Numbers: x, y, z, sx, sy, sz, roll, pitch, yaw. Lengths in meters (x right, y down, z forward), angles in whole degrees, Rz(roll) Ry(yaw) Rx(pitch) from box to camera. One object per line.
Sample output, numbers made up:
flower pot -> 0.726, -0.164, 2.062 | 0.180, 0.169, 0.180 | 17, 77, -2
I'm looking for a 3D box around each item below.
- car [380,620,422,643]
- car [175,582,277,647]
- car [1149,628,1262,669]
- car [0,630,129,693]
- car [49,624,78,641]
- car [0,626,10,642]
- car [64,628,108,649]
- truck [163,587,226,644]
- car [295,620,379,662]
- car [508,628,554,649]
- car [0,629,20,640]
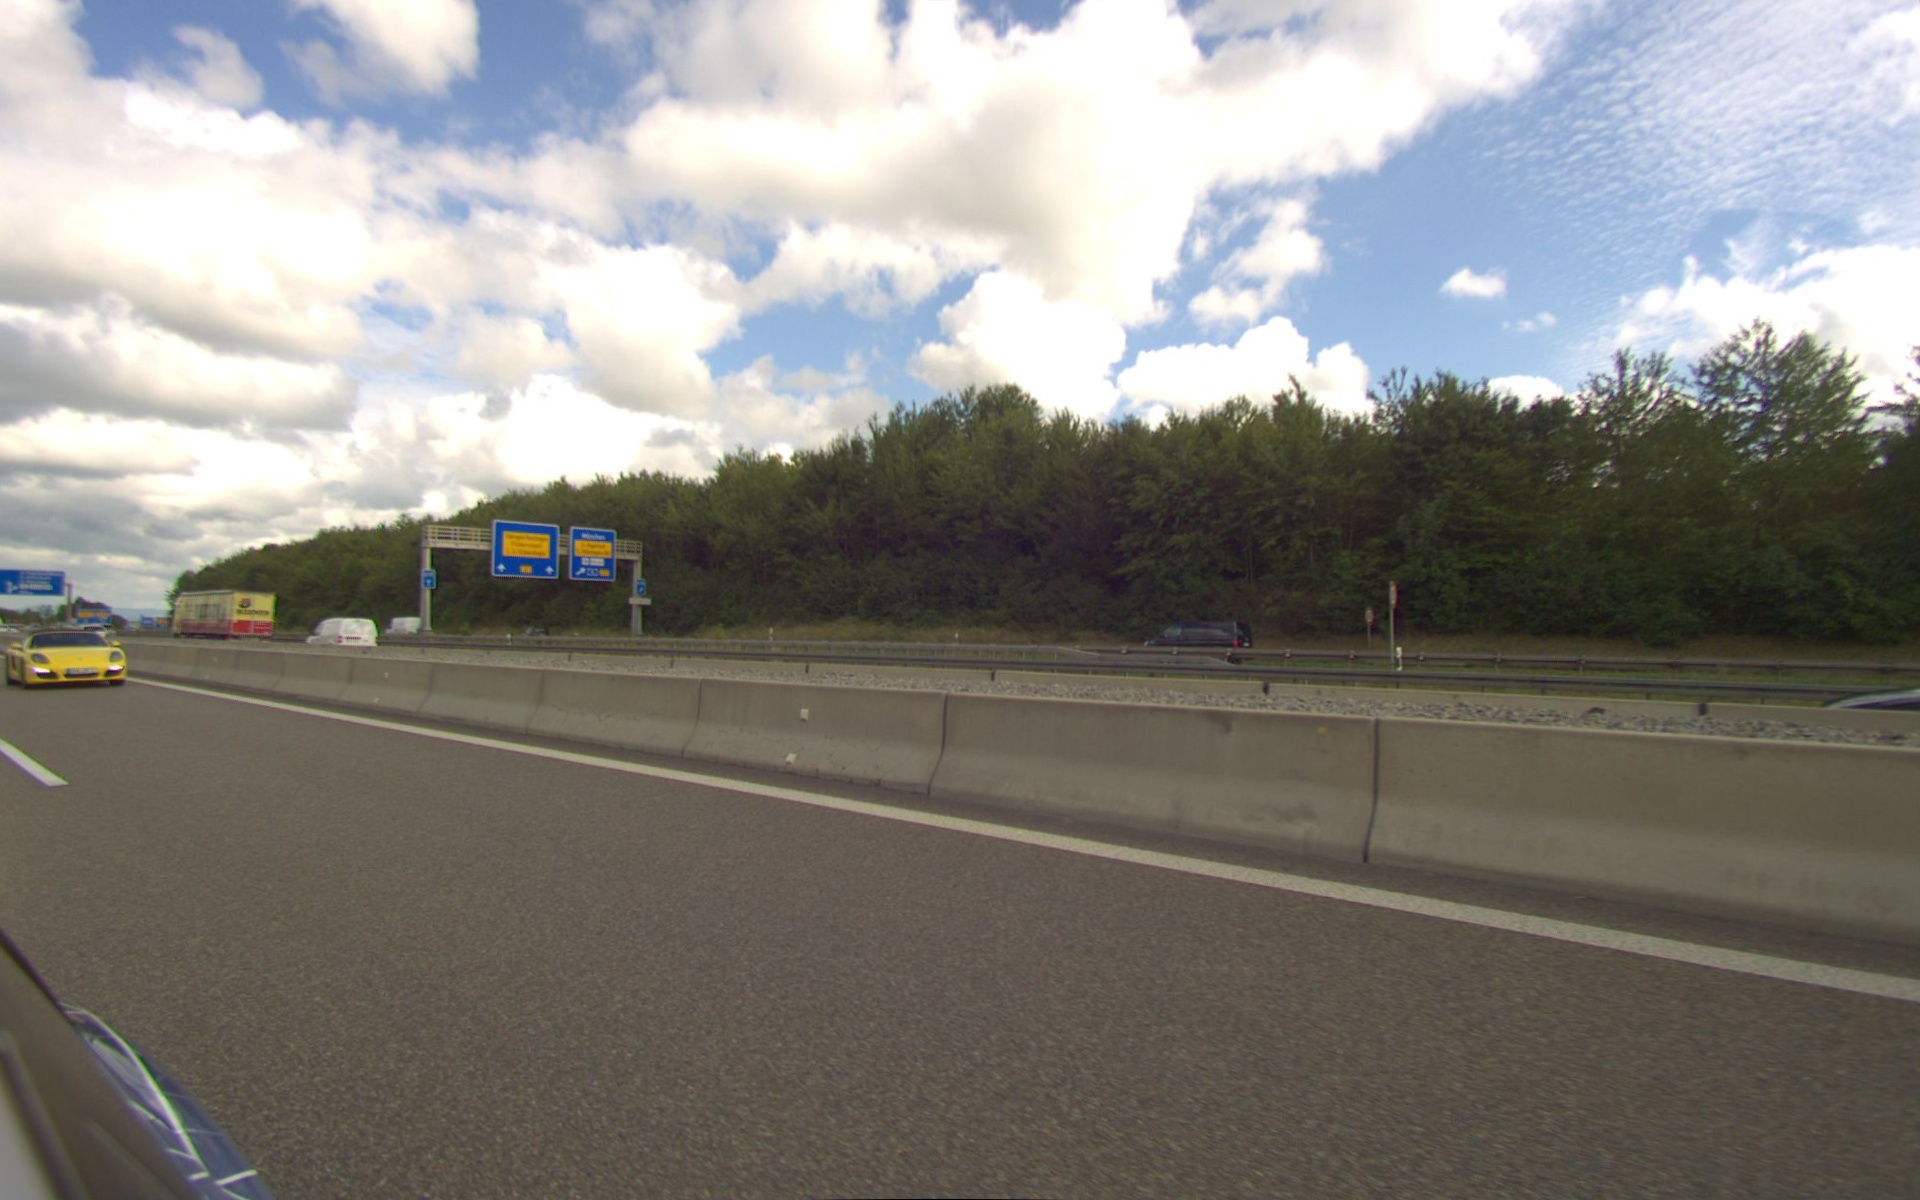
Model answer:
car -> -57.543, 3.256, 104.184 | 5.889, 2.252, 1.972 | -2, -3, 43
car -> -53.855, 1.144, 74.041 | 14.138, 4.358, 2.875 | -2, -2, 41
car -> 10.555, 2.037, 43.670 | 4.418, 1.674, 1.862 | -1, -2, 42
car -> -20.697, 1.363, 23.226 | 4.245, 1.325, 1.788 | -1, -4, 41
car -> -86.624, 3.108, 97.776 | 4.461, 1.623, 1.577 | -1, -1, 41
car -> -96.085, 3.375, 100.804 | 4.178, 1.584, 1.758 | -1, -1, 41
car -> -60.020, 2.639, 69.481 | 4.532, 1.412, 1.648 | -2, -2, 41
truck -> -60.300, 1.270, 79.699 | 5.159, 4.356, 2.866 | -2, -2, 41
car -> -28.285, 1.811, 45.874 | 5.121, 1.808, 1.716 | -1, -2, 40
car -> -36.162, 3.235, 85.257 | 4.418, 1.674, 1.827 | -1, -2, 42
car -> -119.610, 4.350, 127.135 | 4.672, 1.304, 1.752 | -1, -1, 41
